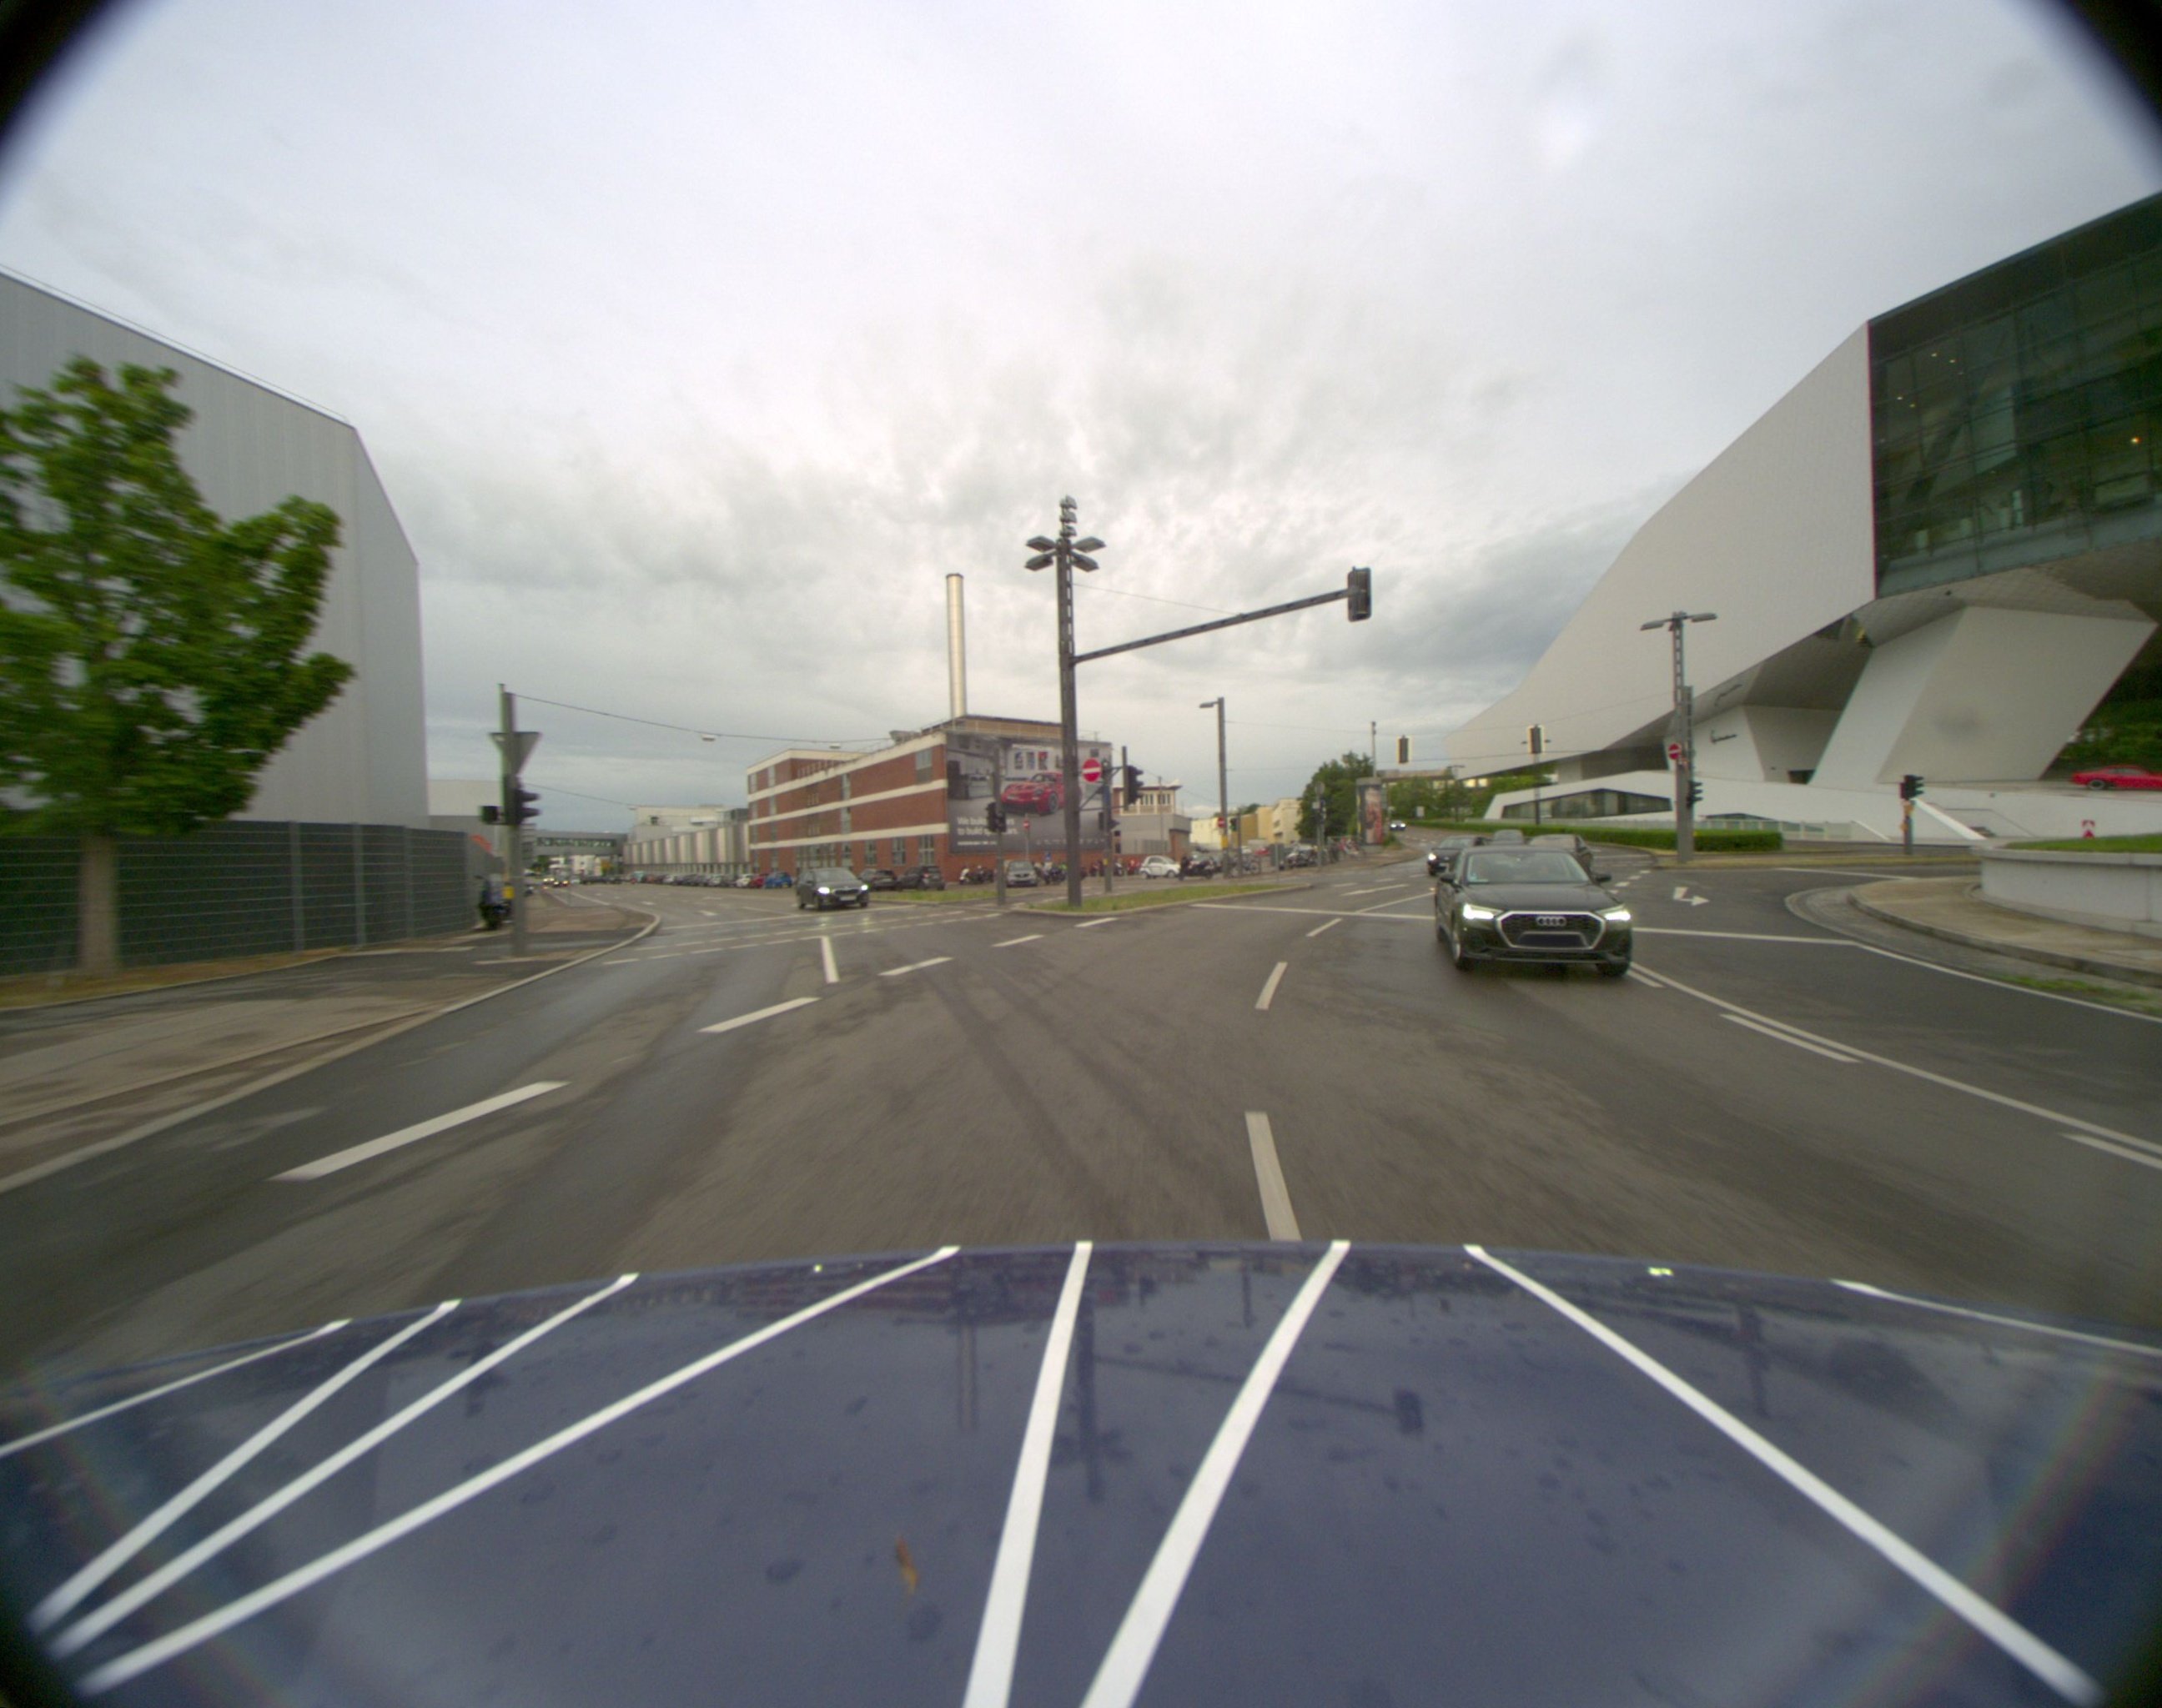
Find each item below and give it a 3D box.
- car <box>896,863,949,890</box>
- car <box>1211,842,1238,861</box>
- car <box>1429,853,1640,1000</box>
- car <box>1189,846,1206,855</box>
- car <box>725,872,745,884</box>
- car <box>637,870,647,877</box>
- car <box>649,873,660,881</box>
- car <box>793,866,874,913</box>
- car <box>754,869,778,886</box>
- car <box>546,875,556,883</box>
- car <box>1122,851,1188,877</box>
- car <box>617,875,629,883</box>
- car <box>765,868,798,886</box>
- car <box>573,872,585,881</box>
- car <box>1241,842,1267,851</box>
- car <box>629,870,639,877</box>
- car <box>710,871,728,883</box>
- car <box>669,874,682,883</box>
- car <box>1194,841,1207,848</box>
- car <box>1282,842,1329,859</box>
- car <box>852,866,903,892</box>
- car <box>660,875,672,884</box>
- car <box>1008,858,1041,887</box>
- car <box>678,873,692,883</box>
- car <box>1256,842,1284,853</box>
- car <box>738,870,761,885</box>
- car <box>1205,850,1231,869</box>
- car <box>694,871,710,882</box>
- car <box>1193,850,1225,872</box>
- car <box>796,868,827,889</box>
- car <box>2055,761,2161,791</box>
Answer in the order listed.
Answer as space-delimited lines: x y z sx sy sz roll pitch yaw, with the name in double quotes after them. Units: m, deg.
-9.371 1.309 44.958 2.744 1.484 1.557 -3 -1 34 "car"
14.200 -0.279 74.932 1.780 1.657 4.510 -3 1 20 "car"
5.933 0.774 10.496 1.754 1.509 4.401 0 1 21 "car"
18.662 -0.564 121.845 1.720 1.417 3.998 -3 1 -3 "car"
-39.007 2.693 85.610 1.461 1.234 3.363 -6 3 -33 "car"
-88.003 3.876 152.186 1.461 1.234 3.363 -6 3 -33 "car"
-77.288 4.143 137.664 1.461 1.234 3.363 -6 3 -33 "car"
-8.792 1.196 26.832 1.723 1.417 3.990 -4 1 -32 "car"
-30.427 2.254 73.350 1.461 1.436 3.380 -6 3 -33 "car"
-115.316 5.391 165.403 1.617 1.550 3.990 -4 1 -37 "car"
4.933 0.690 50.573 3.990 1.480 1.570 -3 1 27 "car"
-80.715 4.365 133.880 1.461 1.234 3.363 -6 3 -33 "car"
-27.283 2.071 69.137 1.700 1.436 3.380 -7 3 -40 "car"
-96.039 4.260 145.327 1.617 1.550 3.990 -4 1 -37 "car"
29.939 -1.343 131.489 3.996 1.417 1.721 -3 1 4 "car"
-95.274 4.156 161.879 1.461 1.234 3.363 -6 3 -33 "car"
-43.226 2.694 90.667 1.461 1.234 3.363 -6 3 -33 "car"
-62.393 3.767 116.888 1.461 1.234 3.363 -6 3 -33 "car"
25.720 -2.014 163.947 1.720 1.417 3.997 -3 1 -6 "car"
21.508 -0.365 72.819 3.989 1.417 1.724 -3 1 33 "car"
-13.150 1.578 48.973 1.570 1.436 4.095 -6 3 -37 "car"
-68.511 4.258 125.449 1.461 1.234 3.363 -6 3 -33 "car"
-3.231 1.017 43.110 1.625 1.495 3.245 -3 1 -7 "car"
-58.508 3.547 112.202 1.461 1.234 3.363 -6 3 -33 "car"
29.326 -1.045 118.123 3.996 1.417 1.721 -3 1 4 "car"
-34.103 2.390 78.113 1.461 1.368 3.380 -6 3 -33 "car"
12.397 0.478 68.568 1.717 1.417 4.004 -3 1 18 "car"
-49.762 2.977 99.720 1.461 1.234 3.363 -6 3 -33 "car"
10.426 0.555 61.506 1.886 1.542 4.512 -3 1 17 "car"
-21.433 1.922 60.367 1.461 1.436 3.380 -6 3 -33 "car"
53.499 -3.993 38.797 2.003 1.378 4.231 -3 9 -29 "car"
